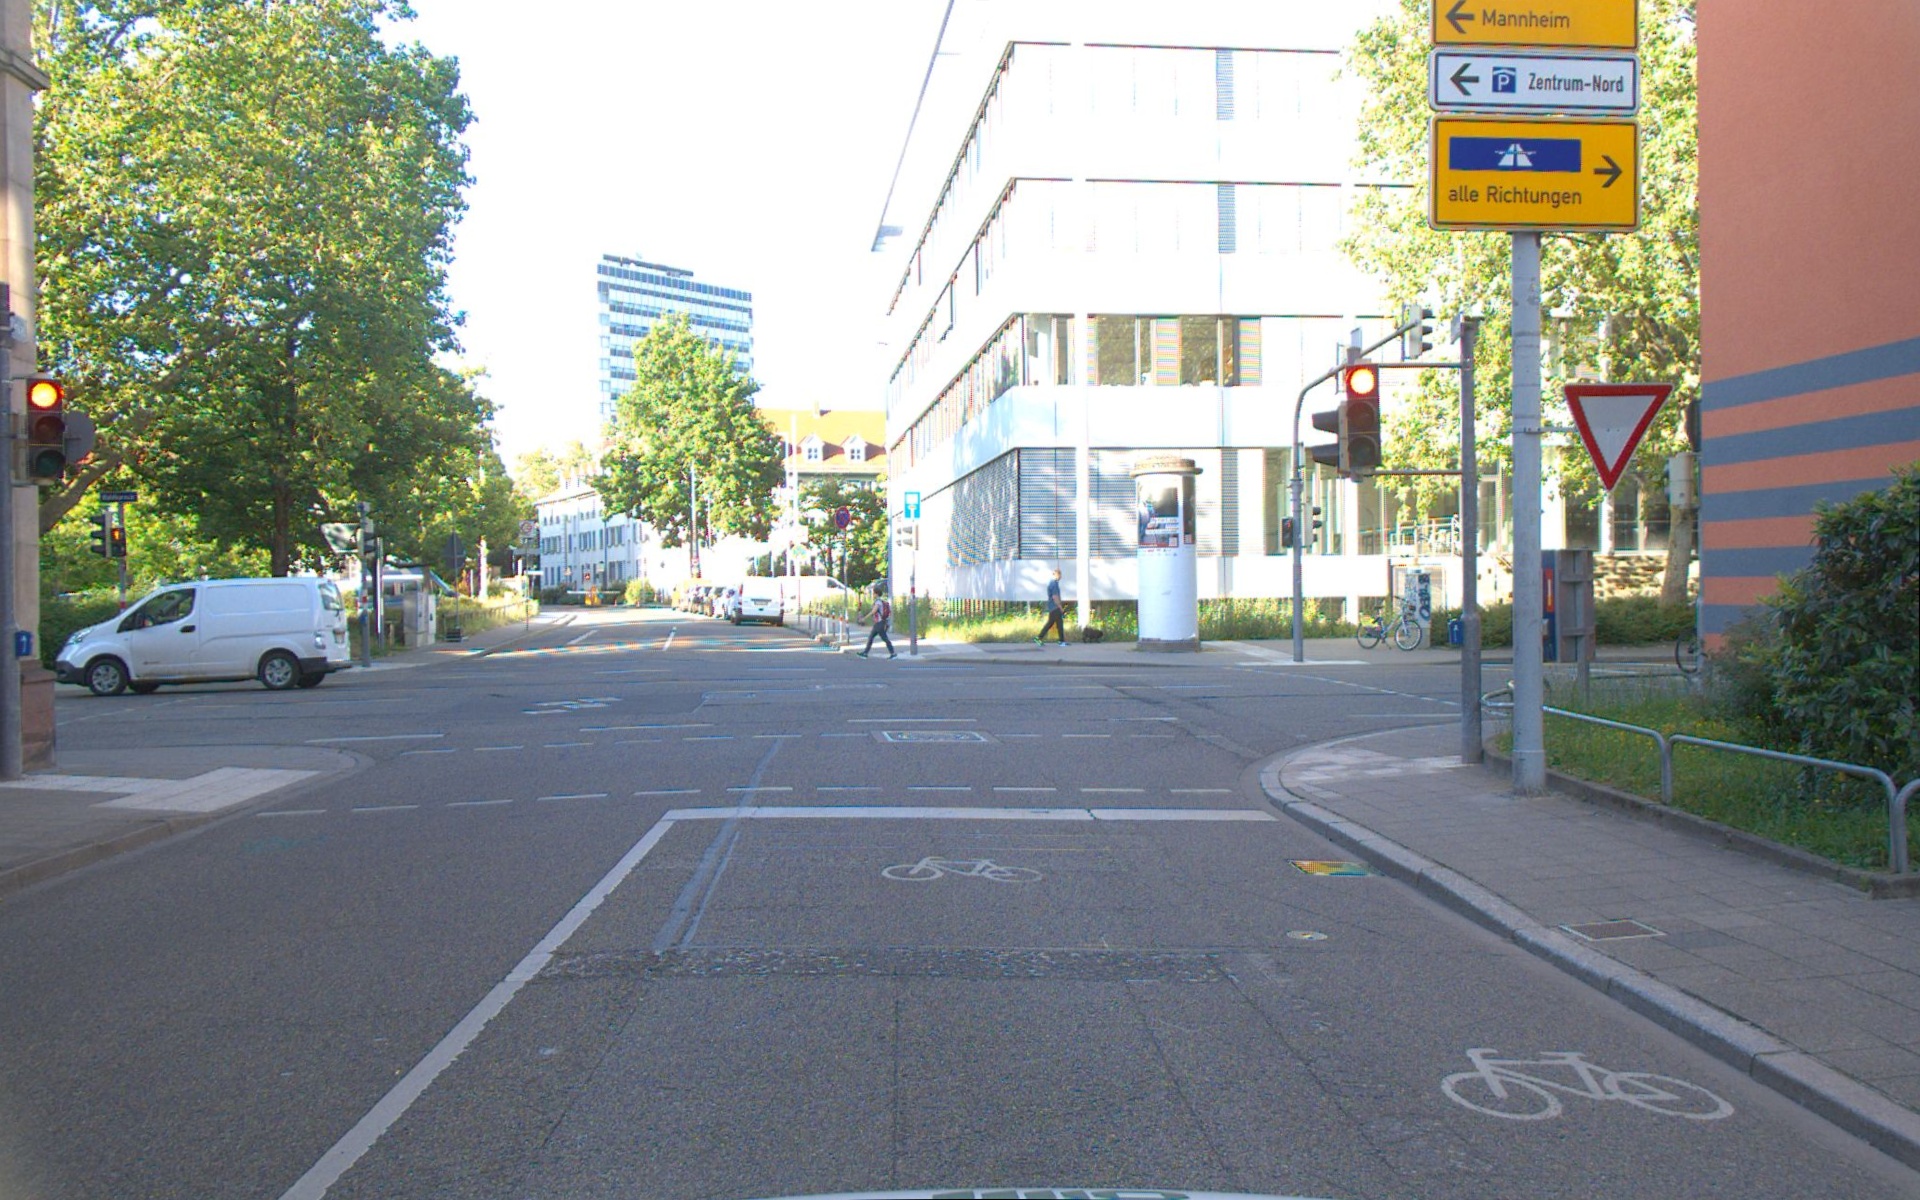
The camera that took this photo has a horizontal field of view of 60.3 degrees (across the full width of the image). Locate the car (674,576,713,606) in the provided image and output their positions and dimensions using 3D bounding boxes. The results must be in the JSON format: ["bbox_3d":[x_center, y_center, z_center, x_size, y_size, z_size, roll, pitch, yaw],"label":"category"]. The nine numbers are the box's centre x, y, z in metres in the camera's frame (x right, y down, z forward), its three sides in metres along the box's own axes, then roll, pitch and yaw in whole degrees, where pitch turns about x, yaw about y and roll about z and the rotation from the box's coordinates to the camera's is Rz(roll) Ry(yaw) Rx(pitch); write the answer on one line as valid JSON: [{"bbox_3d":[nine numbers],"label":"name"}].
[{"bbox_3d":[-15.388,-0.528,95.416,2.063,1.687,4.463,-1,1,-11],"label":"car"}]

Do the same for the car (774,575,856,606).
[{"bbox_3d":[-9.026,-0.574,102.716,4.804,1.905,1.990,1,-1,-17],"label":"car"}]

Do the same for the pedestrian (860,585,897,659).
[{"bbox_3d":[-1.808,0.482,36.777,0.696,1.627,0.618,-1,0,9],"label":"pedestrian"}]

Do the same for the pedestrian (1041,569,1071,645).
[{"bbox_3d":[2.263,0.169,39.015,0.638,1.766,0.813,-1,0,6],"label":"pedestrian"}]

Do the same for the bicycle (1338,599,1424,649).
[{"bbox_3d":[9.218,0.510,36.240,0.460,1.067,1.886,-1,1,-42],"label":"bicycle"}]

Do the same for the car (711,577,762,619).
[{"bbox_3d":[-10.337,-0.099,76.298,1.913,1.826,4.224,-1,1,-13],"label":"car"}]

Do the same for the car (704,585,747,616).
[{"bbox_3d":[-11.507,-0.010,80.888,1.675,1.449,4.223,-1,1,-14],"label":"car"}]

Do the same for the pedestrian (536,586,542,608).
[{"bbox_3d":[-29.071,-0.201,114.202,0.373,1.561,0.444,-1,0,-13],"label":"pedestrian"}]

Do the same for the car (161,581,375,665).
[{"bbox_3d":[-15.769,0.505,37.896,4.146,1.808,1.901,-1,0,-9],"label":"car"}]

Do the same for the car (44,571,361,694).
[{"bbox_3d":[-12.542,0.513,27.602,4.454,1.831,1.634,-2,1,-8],"label":"car"}]

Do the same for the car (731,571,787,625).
[{"bbox_3d":[-7.868,-0.095,64.513,2.029,1.997,4.229,-1,1,-9],"label":"car"}]
